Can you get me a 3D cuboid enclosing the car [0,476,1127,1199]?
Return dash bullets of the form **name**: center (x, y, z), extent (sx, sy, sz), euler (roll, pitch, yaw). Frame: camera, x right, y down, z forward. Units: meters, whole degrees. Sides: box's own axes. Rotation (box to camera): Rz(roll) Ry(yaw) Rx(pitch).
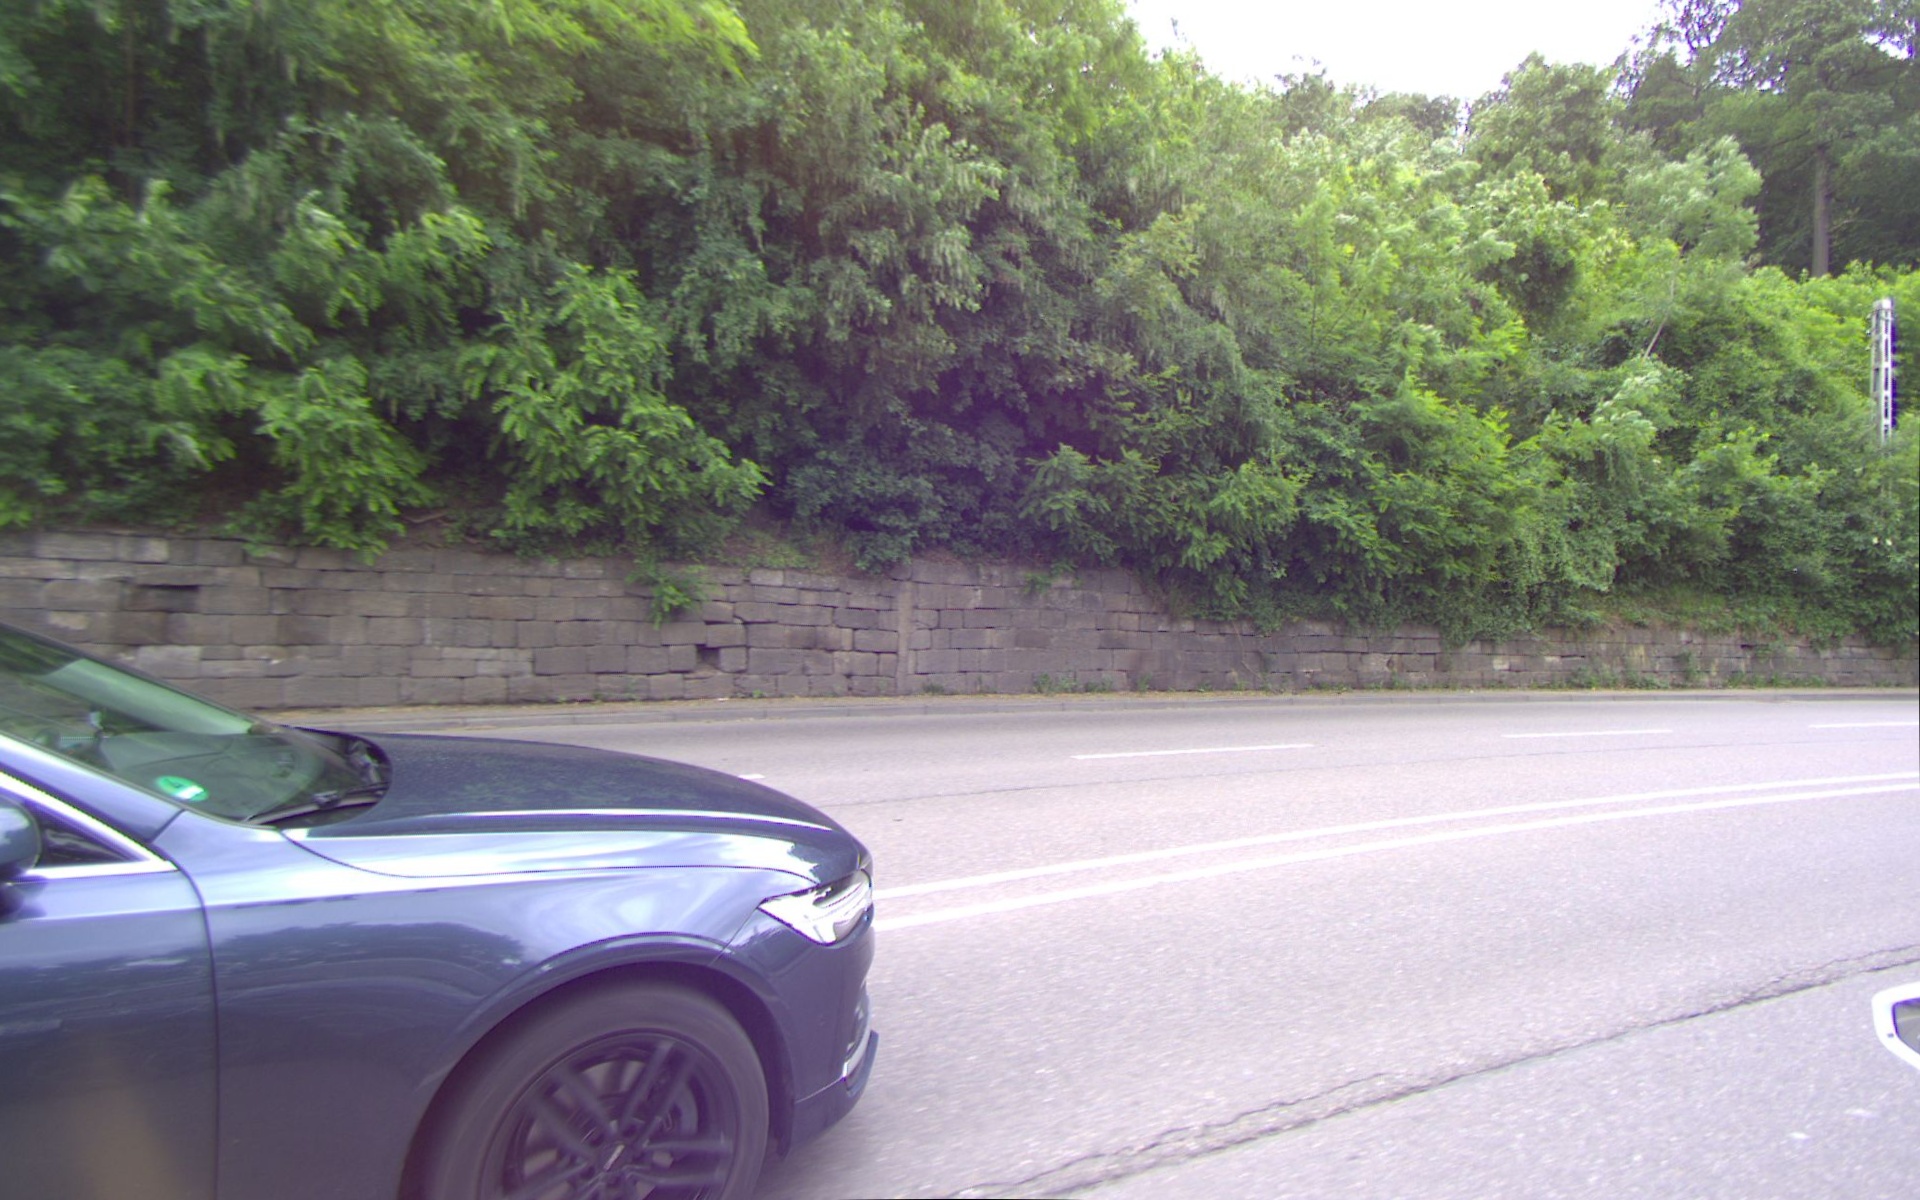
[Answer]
- **car**: center (-2.207, 0.568, 1.919), extent (4.976, 1.597, 1.922), euler (3, 1, -34)
